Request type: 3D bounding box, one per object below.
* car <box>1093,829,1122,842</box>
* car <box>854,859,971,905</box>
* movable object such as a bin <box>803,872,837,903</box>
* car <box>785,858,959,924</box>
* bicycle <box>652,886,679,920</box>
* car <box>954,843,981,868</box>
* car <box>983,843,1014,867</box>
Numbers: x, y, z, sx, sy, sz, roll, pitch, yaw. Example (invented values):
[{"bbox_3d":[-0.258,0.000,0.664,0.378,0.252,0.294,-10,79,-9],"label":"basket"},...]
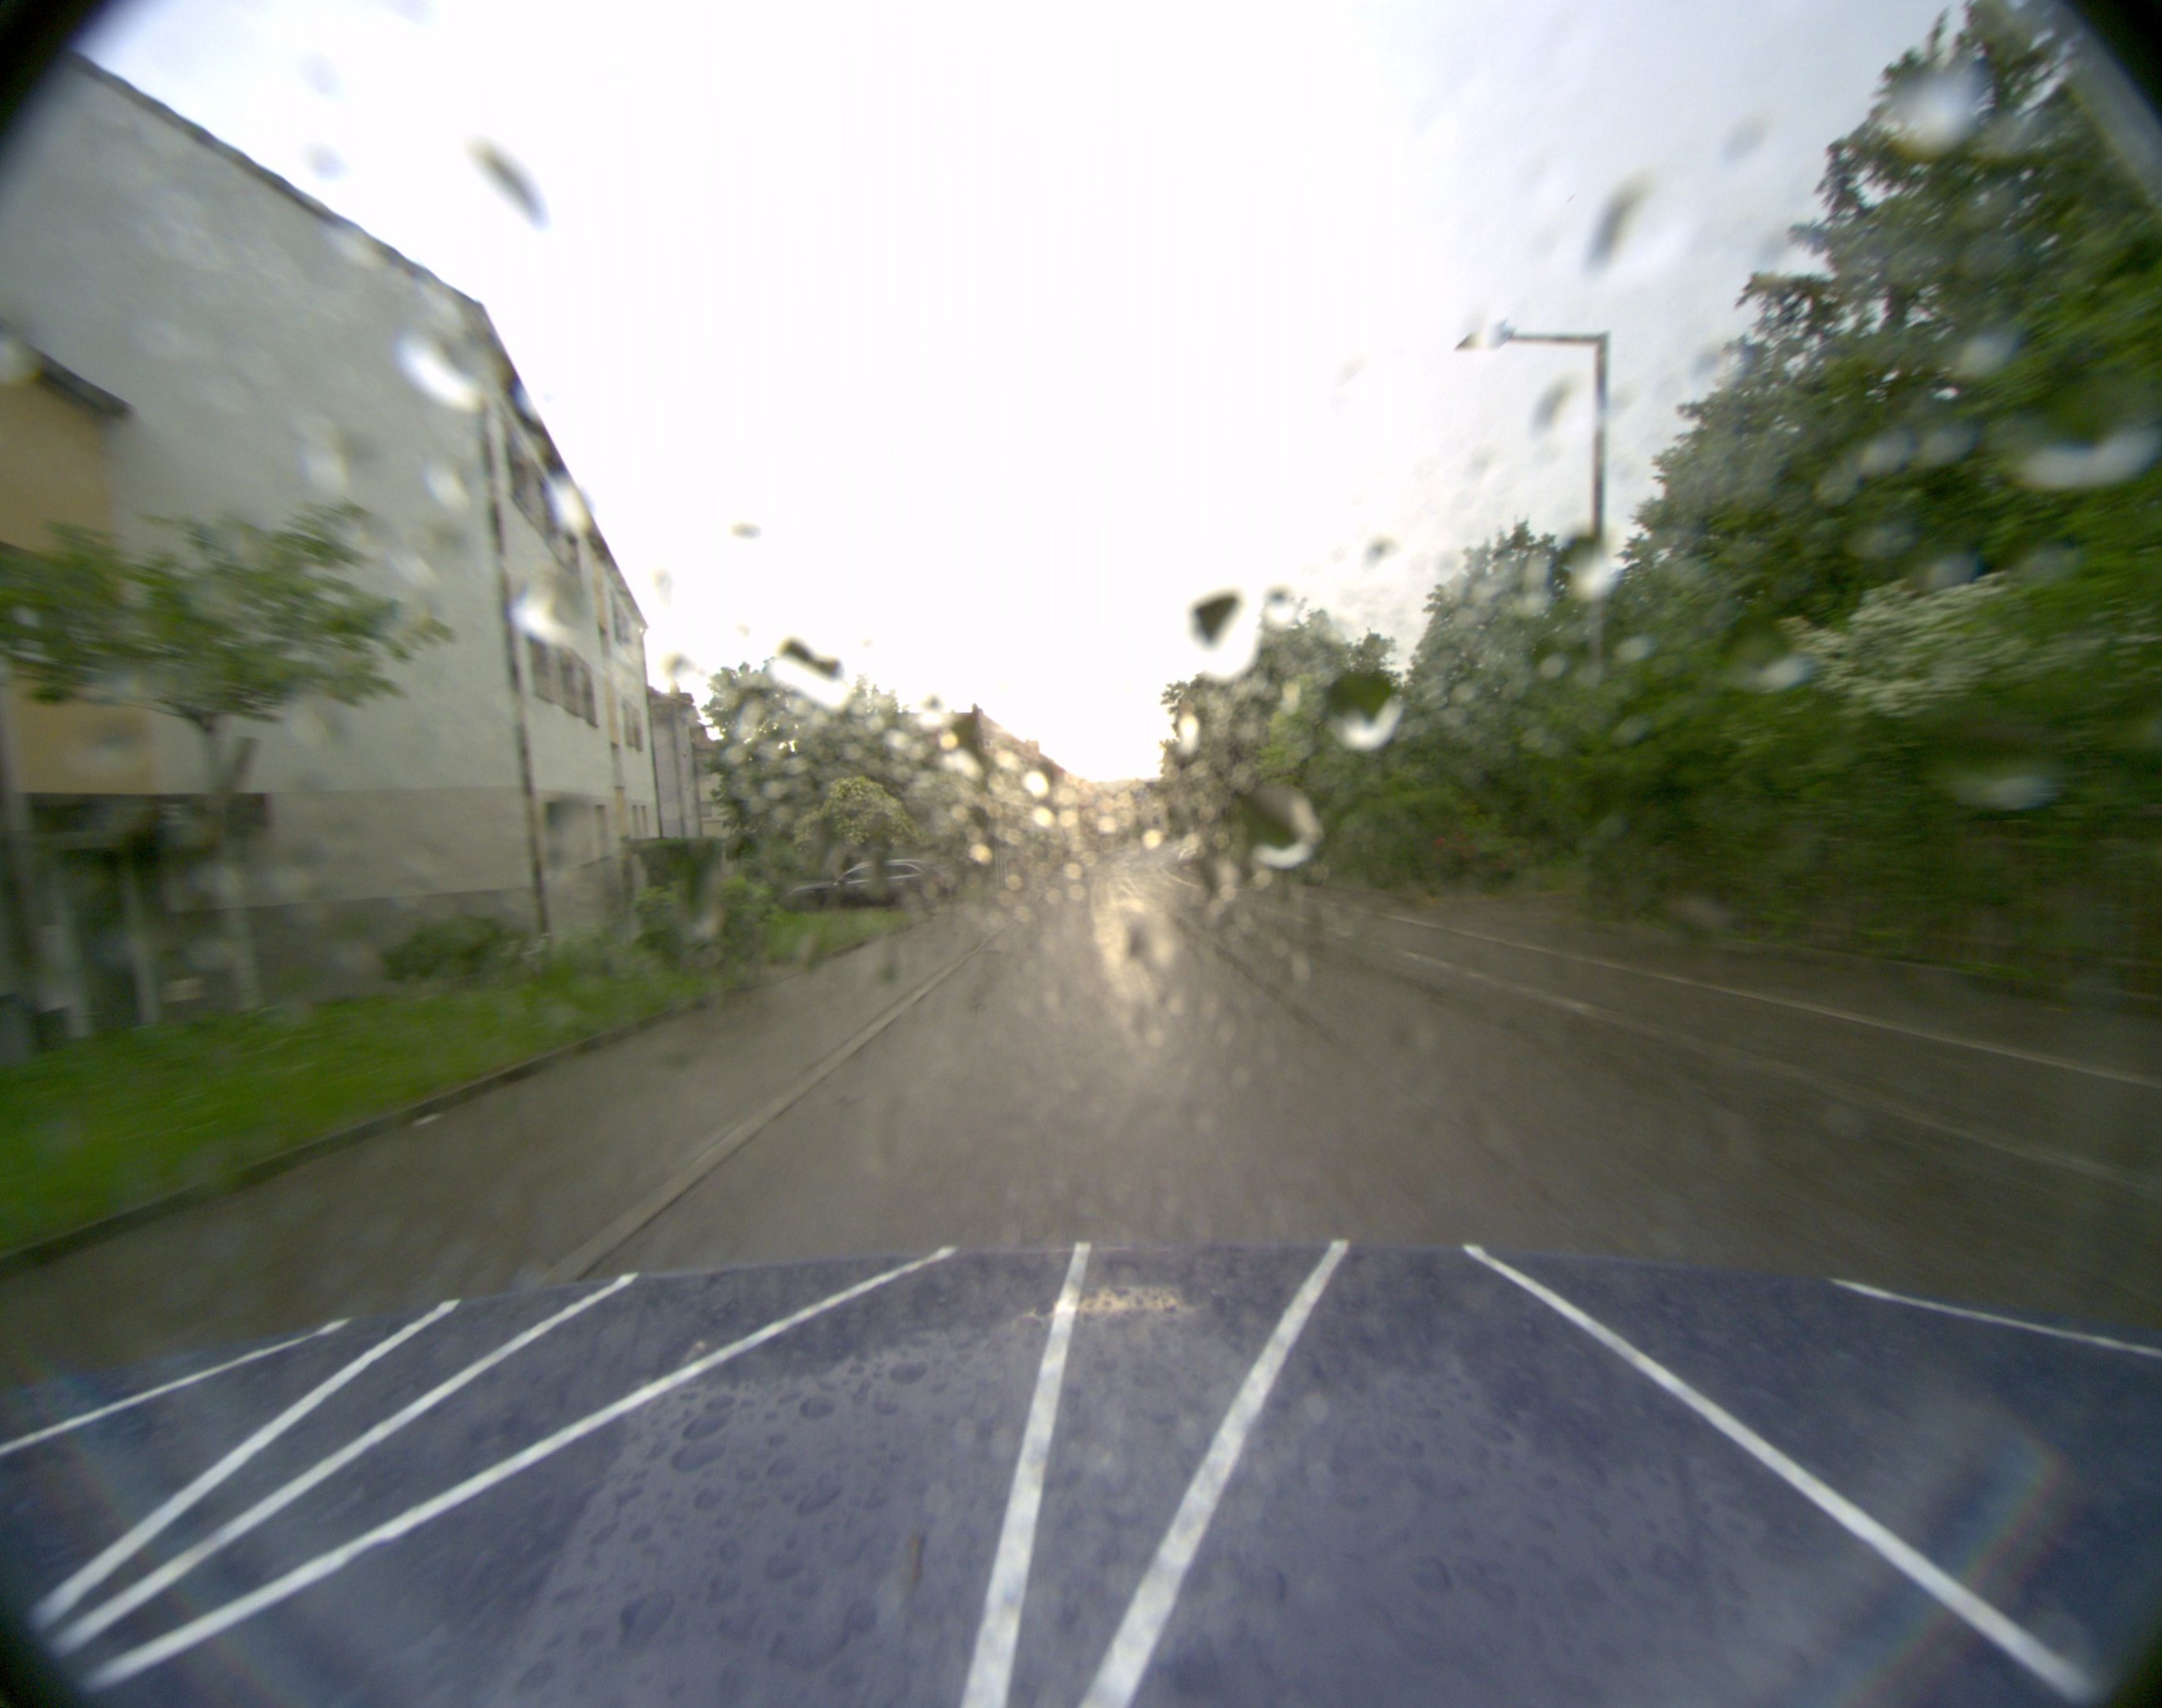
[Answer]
[{"bbox_3d":[3.826,-2.715,109.971,3.937,1.773,1.767,-1,5,-15],"label":"car"},{"bbox_3d":[-5.967,0.986,27.169,3.753,1.450,1.724,-2,0,0],"label":"car"},{"bbox_3d":[-12.977,1.646,37.820,1.140,1.386,1.119,-5,1,5],"label":"movable object such as a bin"},{"bbox_3d":[-5.902,1.022,21.923,4.539,1.651,1.855,-2,0,-5],"label":"car"},{"bbox_3d":[-13.484,1.584,24.677,0.573,0.984,1.679,-4,1,-24],"label":"bicycle"},{"bbox_3d":[-8.765,0.082,58.423,1.797,1.585,4.249,0,4,-11],"label":"car"},{"bbox_3d":[-6.486,0.035,59.454,1.725,1.555,3.786,-1,5,-16],"label":"car"}]
